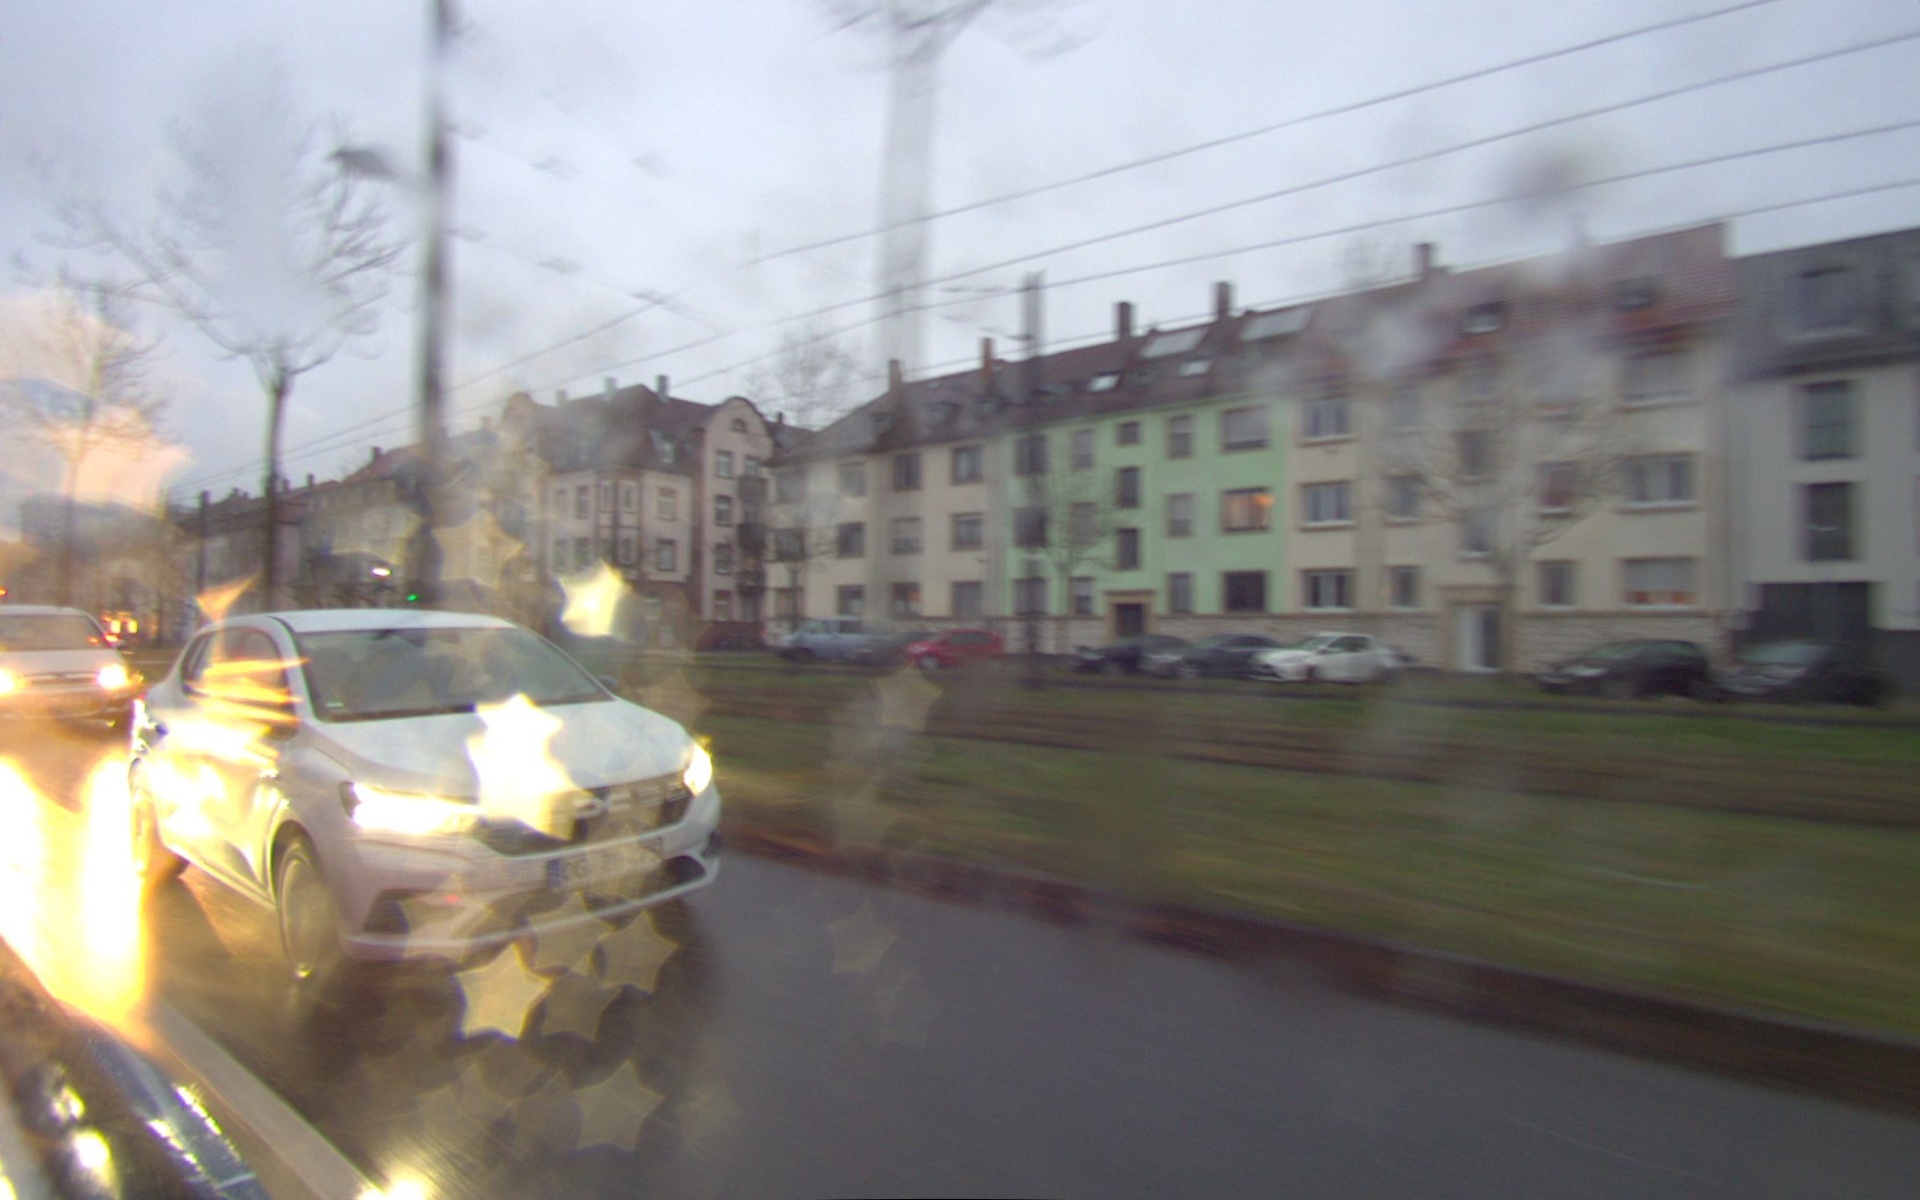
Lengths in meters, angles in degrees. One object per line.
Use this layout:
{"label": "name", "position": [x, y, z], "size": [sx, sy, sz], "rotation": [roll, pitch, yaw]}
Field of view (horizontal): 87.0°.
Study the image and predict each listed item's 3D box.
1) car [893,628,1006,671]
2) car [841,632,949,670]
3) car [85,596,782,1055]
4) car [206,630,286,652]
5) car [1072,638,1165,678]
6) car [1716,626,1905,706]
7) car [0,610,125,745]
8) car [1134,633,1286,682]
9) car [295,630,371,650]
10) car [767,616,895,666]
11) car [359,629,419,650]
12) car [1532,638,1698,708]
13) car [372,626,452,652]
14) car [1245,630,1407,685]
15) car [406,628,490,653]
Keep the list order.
{"label": "car", "position": [-0.375, 1.685, 34.937], "size": [3.519, 1.319, 1.692], "rotation": [-1, 0, -20]}
{"label": "car", "position": [-2.361, 1.812, 36.427], "size": [3.510, 1.149, 1.742], "rotation": [-1, 0, -20]}
{"label": "car", "position": [-2.897, 0.757, 5.189], "size": [3.995, 1.485, 1.672], "rotation": [-1, 0, 38]}
{"label": "car", "position": [-53.361, 3.044, 75.675], "size": [4.585, 1.443, 1.699], "rotation": [-1, 0, -16]}
{"label": "car", "position": [4.765, 1.729, 30.577], "size": [2.351, 1.056, 1.441], "rotation": [-1, -1, -20]}
{"label": "car", "position": [17.516, 1.299, 20.853], "size": [3.326, 1.432, 1.675], "rotation": [-1, 0, -24]}
{"label": "car", "position": [-12.262, 0.925, 13.122], "size": [3.906, 1.531, 1.617], "rotation": [-1, 0, 41]}
{"label": "car", "position": [7.043, 1.589, 28.666], "size": [3.758, 1.181, 1.742], "rotation": [-1, 0, -13]}
{"label": "car", "position": [-44.282, 2.811, 71.534], "size": [4.196, 1.267, 1.838], "rotation": [-1, 0, -11]}
{"label": "car", "position": [-4.981, 1.533, 39.020], "size": [4.579, 1.736, 1.839], "rotation": [-1, 0, -18]}
{"label": "car", "position": [-35.186, 2.415, 62.434], "size": [2.869, 0.997, 1.801], "rotation": [-3, 2, -17]}
{"label": "car", "position": [14.804, 1.603, 22.916], "size": [2.886, 1.346, 1.743], "rotation": [-1, 0, -20]}
{"label": "car", "position": [-32.921, 2.330, 60.845], "size": [3.976, 1.239, 1.352], "rotation": [-2, 2, -16]}
{"label": "car", "position": [9.712, 1.491, 26.905], "size": [3.777, 1.255, 1.743], "rotation": [-1, 0, -19]}
{"label": "car", "position": [-29.930, 2.355, 59.278], "size": [4.037, 1.169, 1.716], "rotation": [-2, 2, -13]}
